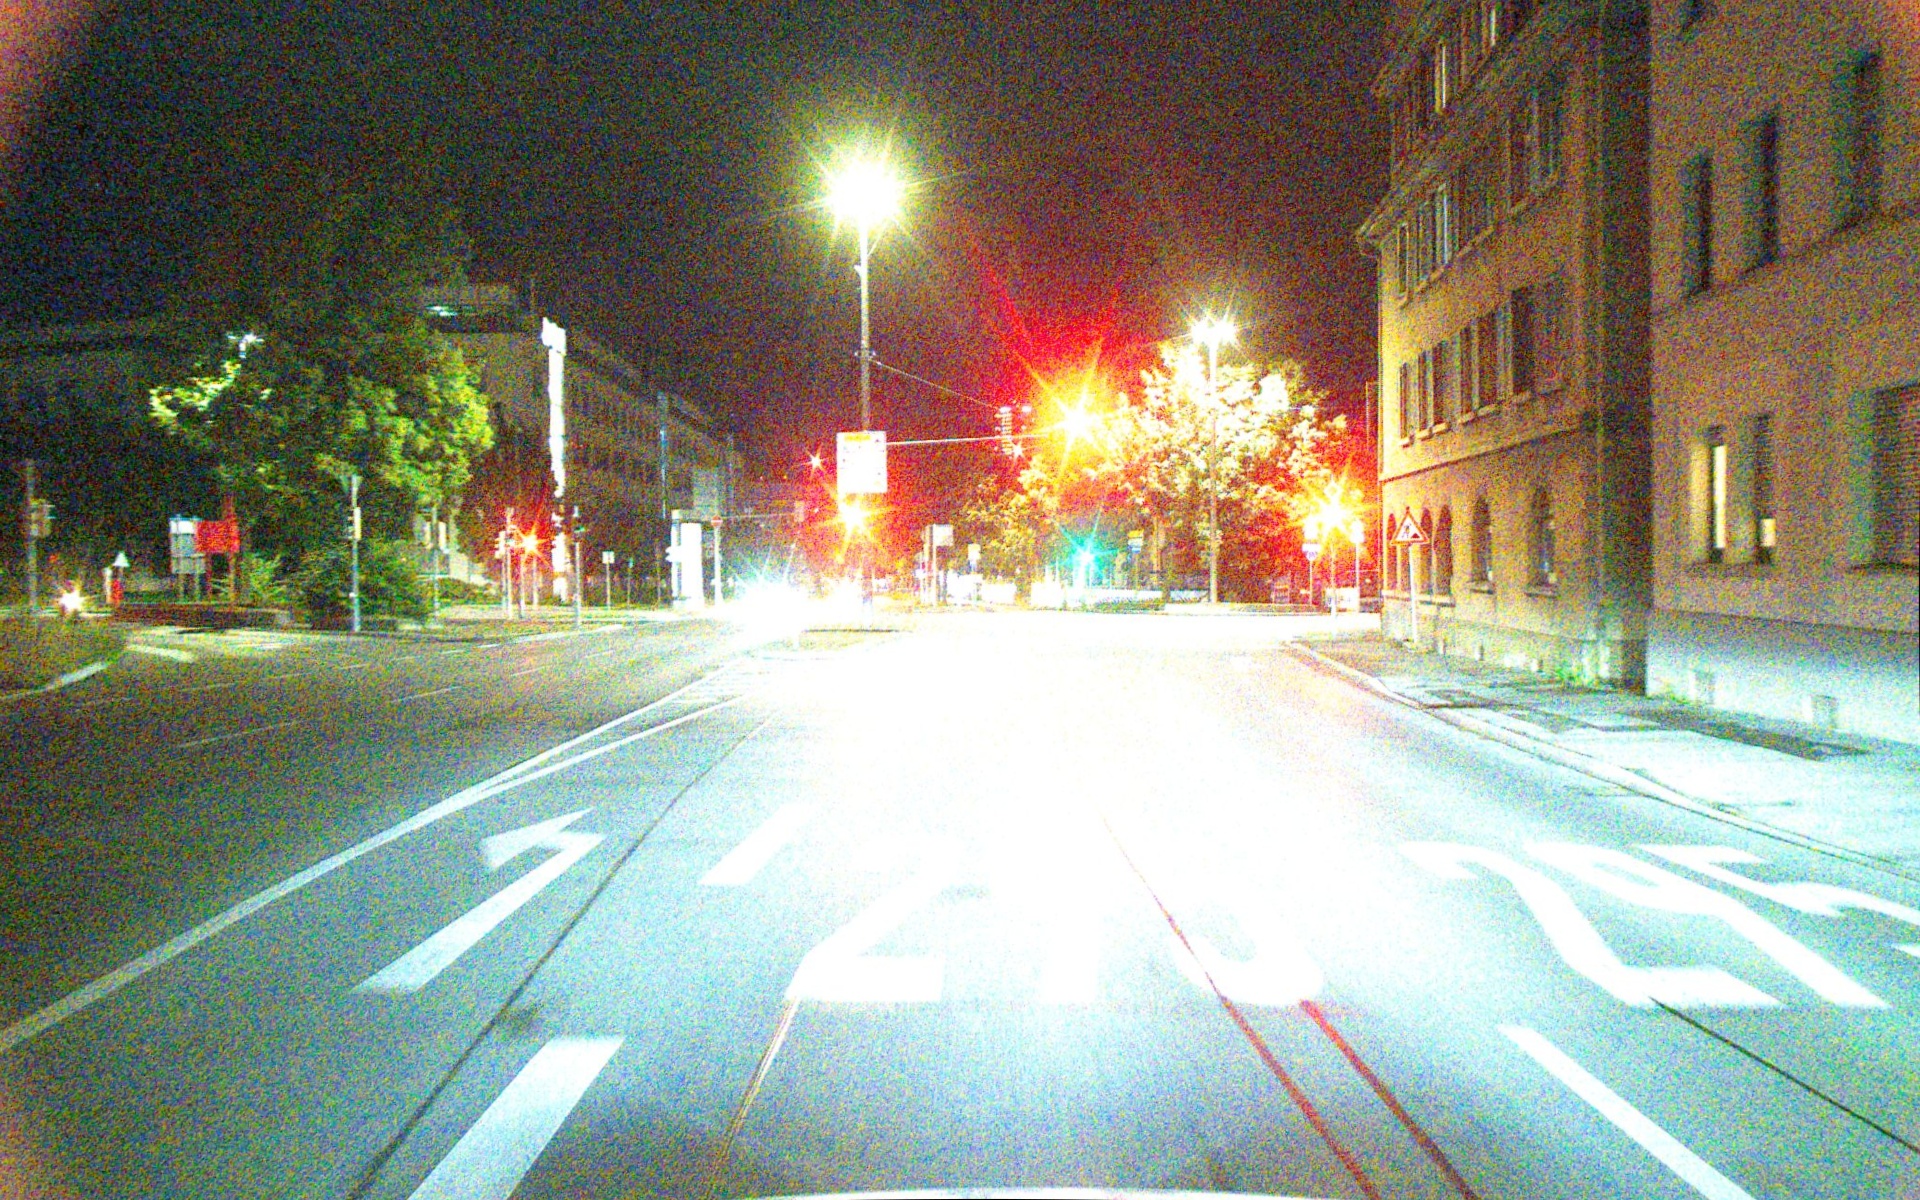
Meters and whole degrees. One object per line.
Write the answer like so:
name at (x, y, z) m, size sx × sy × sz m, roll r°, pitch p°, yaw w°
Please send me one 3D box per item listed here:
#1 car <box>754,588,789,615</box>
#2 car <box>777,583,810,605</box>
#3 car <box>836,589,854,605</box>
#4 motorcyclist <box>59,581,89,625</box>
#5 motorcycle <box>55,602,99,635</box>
car at (-10.690, 0.081, 94.108) m, size 1.583 × 1.541 × 3.999 m, roll 0°, pitch 0°, yaw 0°
car at (-10.508, -0.366, 104.577) m, size 1.722 × 1.345 × 3.547 m, roll 0°, pitch 0°, yaw -1°
car at (-12.480, -0.320, 179.382) m, size 1.722 × 1.758 × 3.547 m, roll 0°, pitch 0°, yaw -1°
motorcyclist at (-25.810, 0.087, 48.164) m, size 0.643 × 1.283 × 0.570 m, roll 0°, pitch 0°, yaw -43°
motorcycle at (-25.836, 0.539, 48.379) m, size 0.575 × 0.911 × 2.121 m, roll -3°, pitch 2°, yaw -43°
